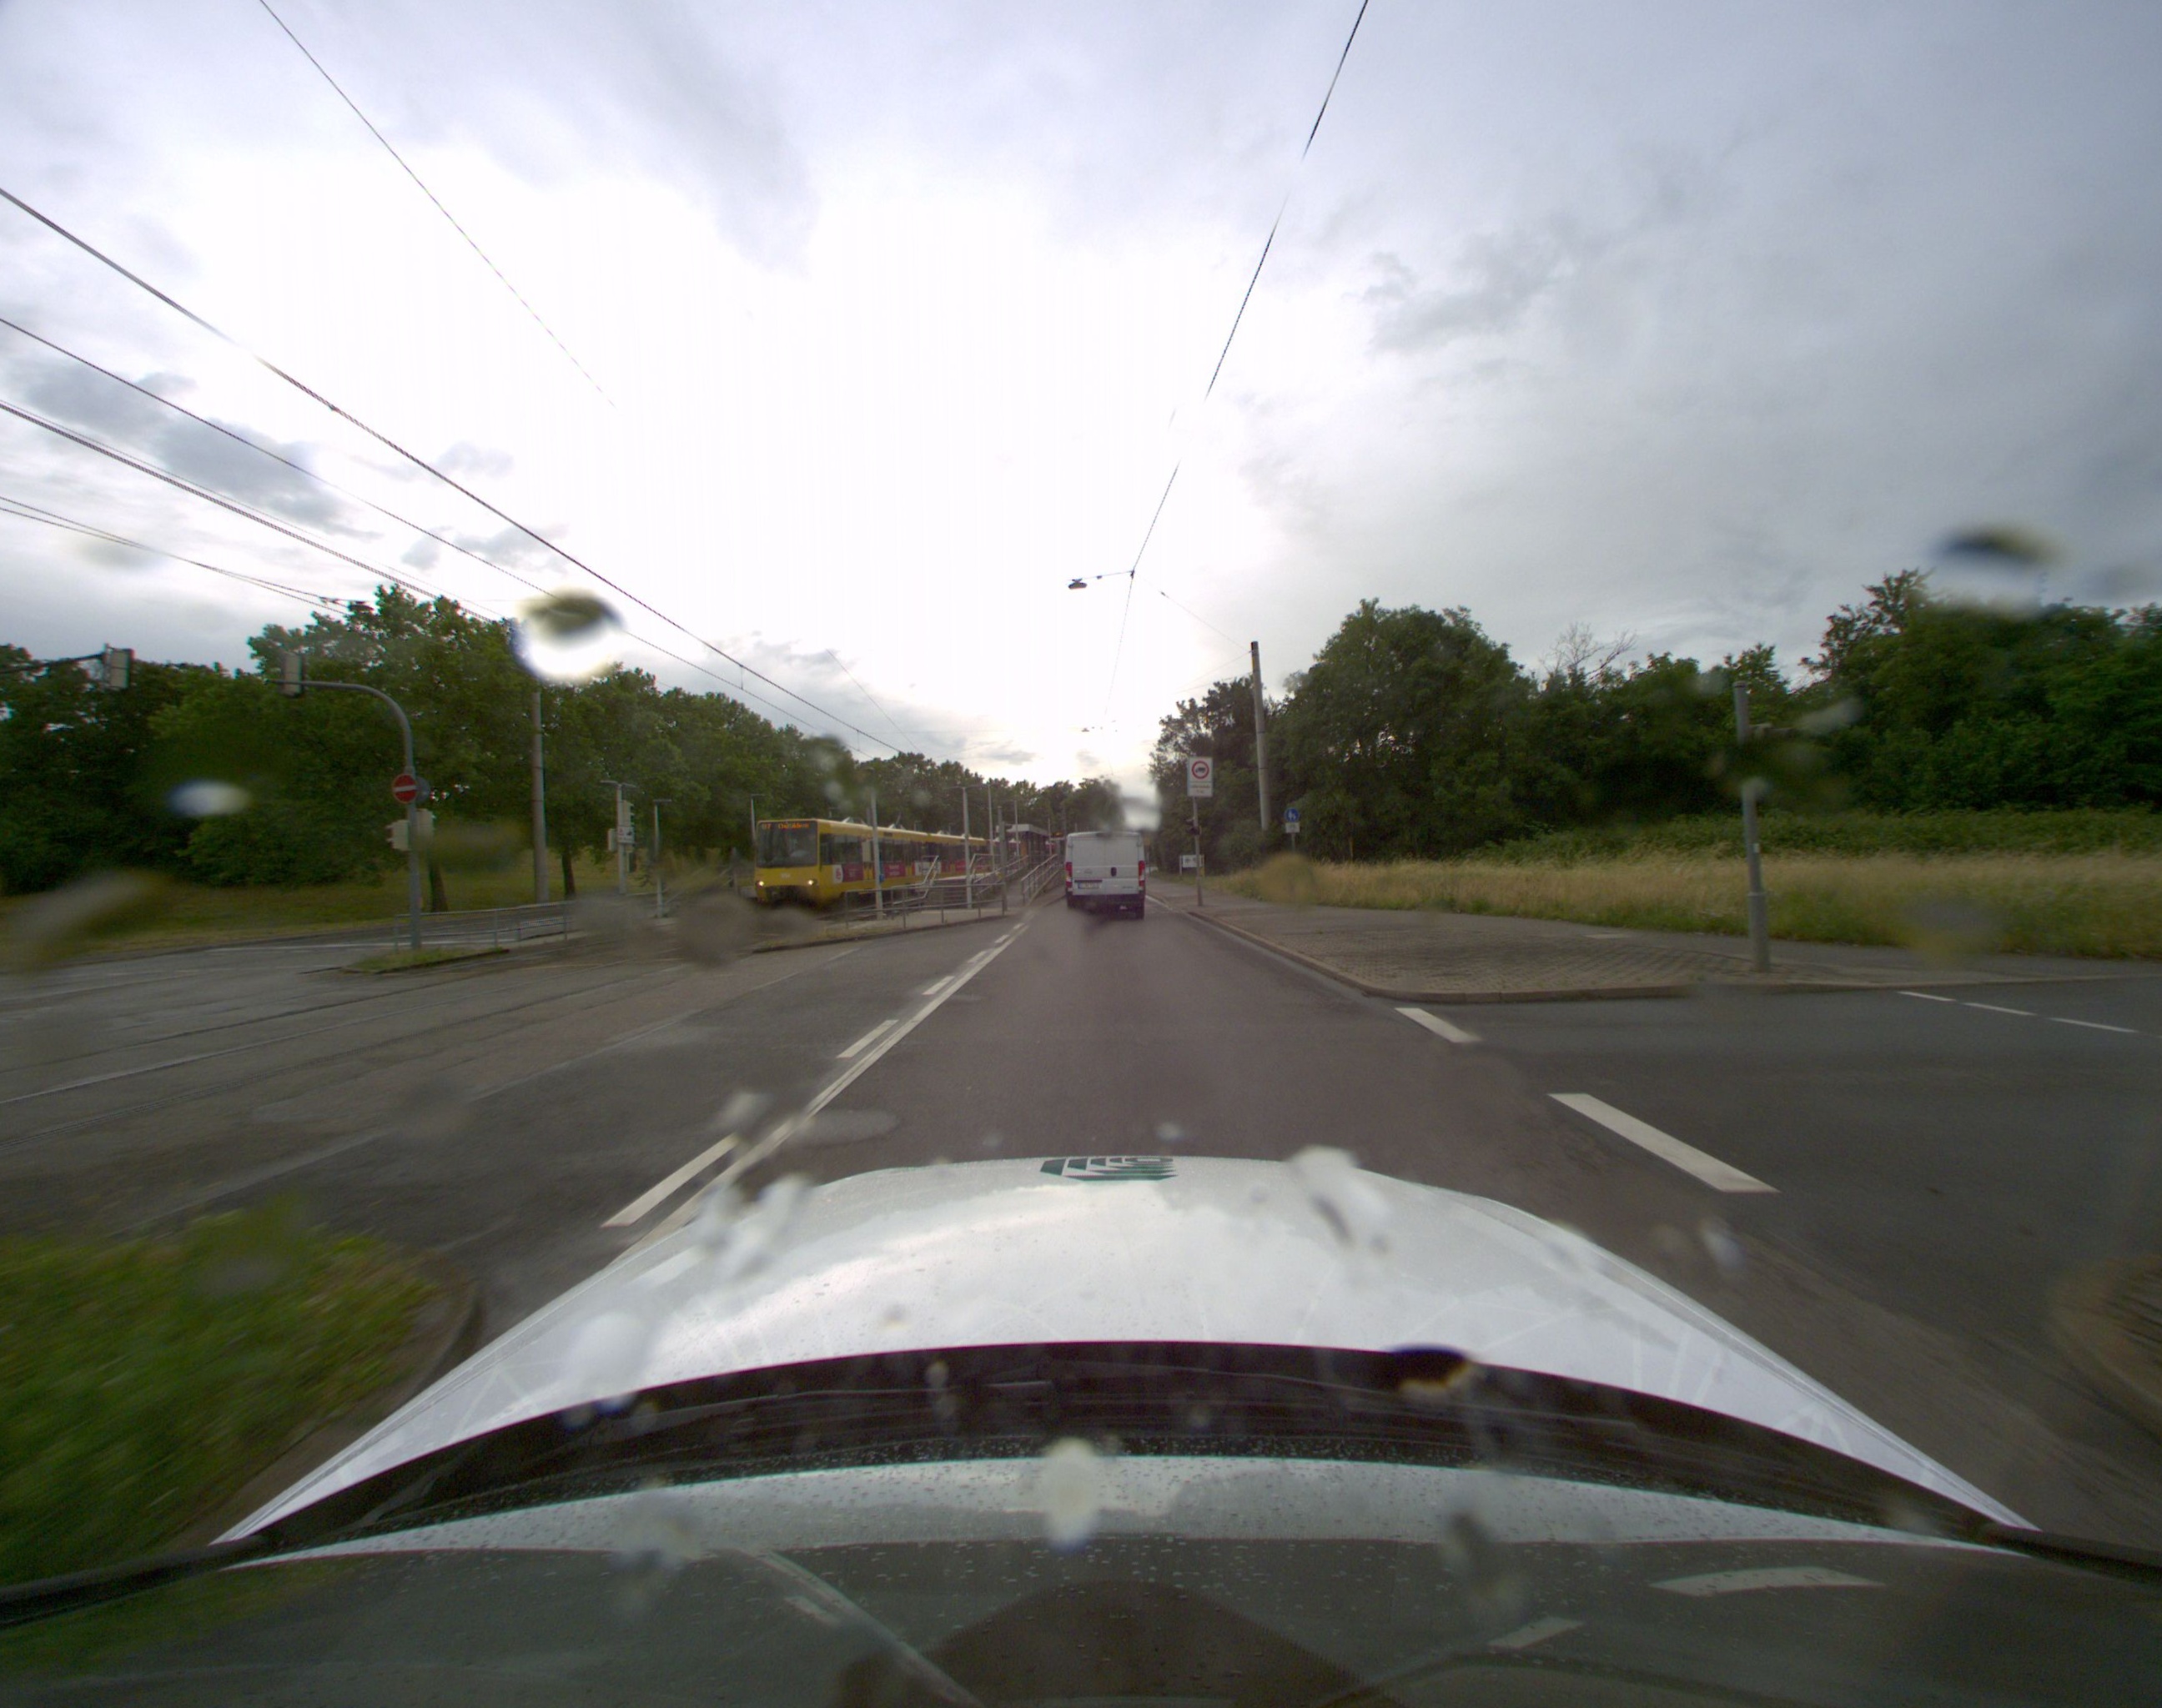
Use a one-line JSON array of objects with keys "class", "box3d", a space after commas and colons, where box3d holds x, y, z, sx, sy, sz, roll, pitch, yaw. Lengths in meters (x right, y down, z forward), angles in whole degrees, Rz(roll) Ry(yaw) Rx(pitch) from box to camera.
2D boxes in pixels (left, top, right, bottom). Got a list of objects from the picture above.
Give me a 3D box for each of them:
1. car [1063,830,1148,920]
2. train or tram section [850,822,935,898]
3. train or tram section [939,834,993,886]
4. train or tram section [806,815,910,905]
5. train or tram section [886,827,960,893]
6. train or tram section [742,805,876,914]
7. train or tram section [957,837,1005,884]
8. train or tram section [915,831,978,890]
[{"class": "car", "box3d": [0.608, 0.528, 22.748, 2.084, 2.196, 5.060, -1, 0, 0]}, {"class": "train or tram section", "box3d": [-10.378, 0.354, 45.669, 2.918, 3.933, 7.007, 0, -1, 2]}, {"class": "train or tram section", "box3d": [-9.096, 0.521, 65.306, 2.915, 3.933, 7.012, 0, -1, 4]}, {"class": "train or tram section", "box3d": [-10.562, 0.299, 39.424, 2.918, 3.933, 7.007, 0, -1, 2]}, {"class": "train or tram section", "box3d": [-9.988, 0.410, 52.278, 2.915, 3.933, 7.012, 0, -1, 4]}, {"class": "train or tram section", "box3d": [-10.744, 0.242, 33.033, 2.918, 3.933, 7.007, 0, -1, 2]}, {"class": "train or tram section", "box3d": [-8.668, 0.575, 71.569, 2.915, 3.933, 7.012, 0, -1, 4]}, {"class": "train or tram section", "box3d": [-9.547, 0.466, 58.764, 2.915, 3.933, 7.012, 0, -1, 4]}]
